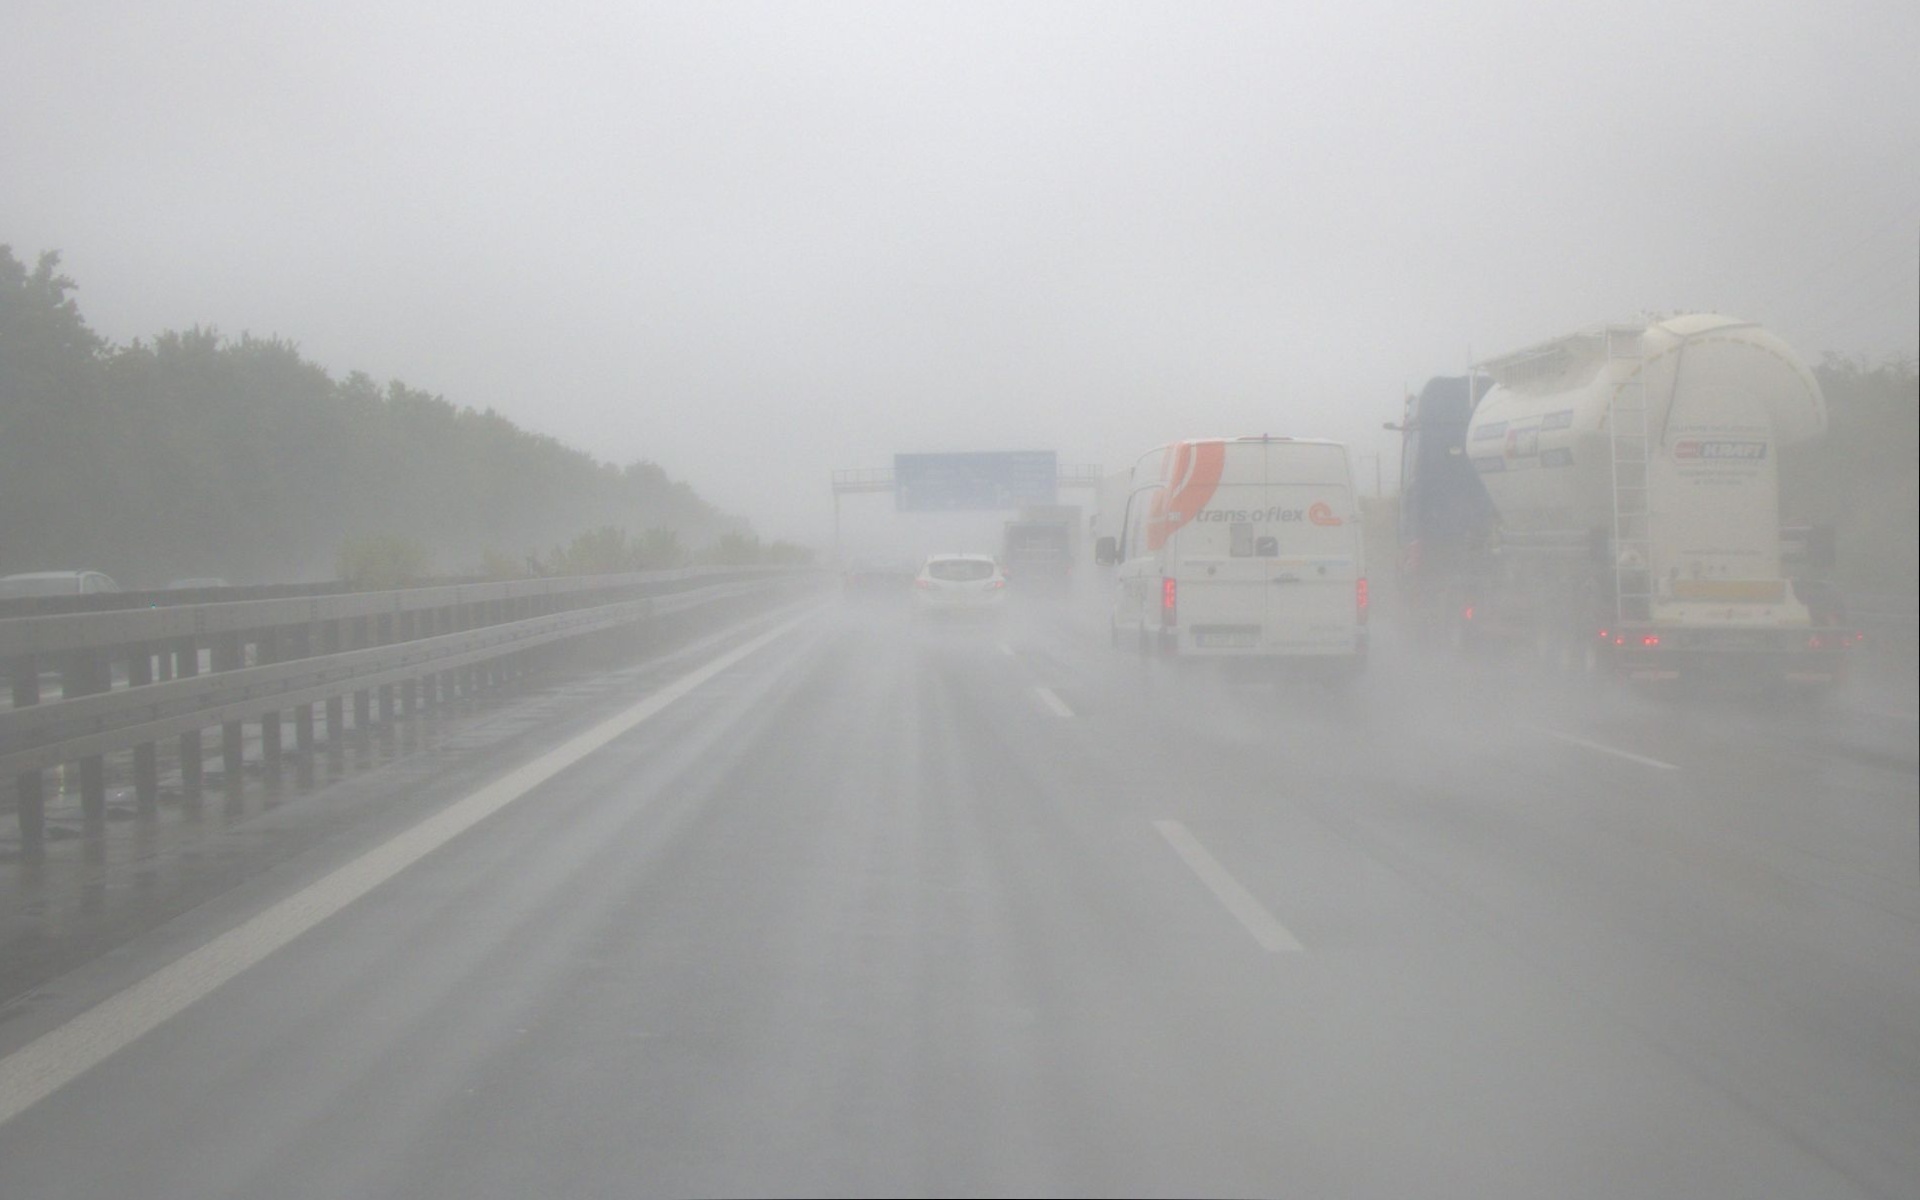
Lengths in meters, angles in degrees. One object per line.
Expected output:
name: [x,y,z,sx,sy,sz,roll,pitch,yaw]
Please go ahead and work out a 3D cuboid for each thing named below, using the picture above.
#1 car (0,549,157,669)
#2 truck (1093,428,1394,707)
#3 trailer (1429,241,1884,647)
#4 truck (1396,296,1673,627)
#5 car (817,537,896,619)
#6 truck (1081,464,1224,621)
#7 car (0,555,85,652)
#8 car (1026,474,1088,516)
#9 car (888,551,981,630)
car: [-12.259,0.083,46.036,1.993,1.429,4.648,1,2,-1]
truck: [2.671,-0.344,33.861,2.419,2.484,5.560,1,1,0]
trailer: [7.472,-1.608,38.675,2.497,3.869,11.068,1,1,-2]
truck: [7.286,-1.731,44.208,2.496,3.970,5.076,1,1,-2]
car: [-2.362,-0.533,78.957,1.702,1.812,3.862,1,1,0]
truck: [5.952,-1.725,109.376,3.039,4.572,16.352,1,0,-2]
car: [-16.171,0.017,57.429,1.993,1.507,4.648,1,1,-1]
car: [4.745,-5.169,169.552,2.788,2.007,4.993,1,1,-1]
car: [-0.489,-0.194,62.496,1.605,1.333,3.849,1,1,-1]
